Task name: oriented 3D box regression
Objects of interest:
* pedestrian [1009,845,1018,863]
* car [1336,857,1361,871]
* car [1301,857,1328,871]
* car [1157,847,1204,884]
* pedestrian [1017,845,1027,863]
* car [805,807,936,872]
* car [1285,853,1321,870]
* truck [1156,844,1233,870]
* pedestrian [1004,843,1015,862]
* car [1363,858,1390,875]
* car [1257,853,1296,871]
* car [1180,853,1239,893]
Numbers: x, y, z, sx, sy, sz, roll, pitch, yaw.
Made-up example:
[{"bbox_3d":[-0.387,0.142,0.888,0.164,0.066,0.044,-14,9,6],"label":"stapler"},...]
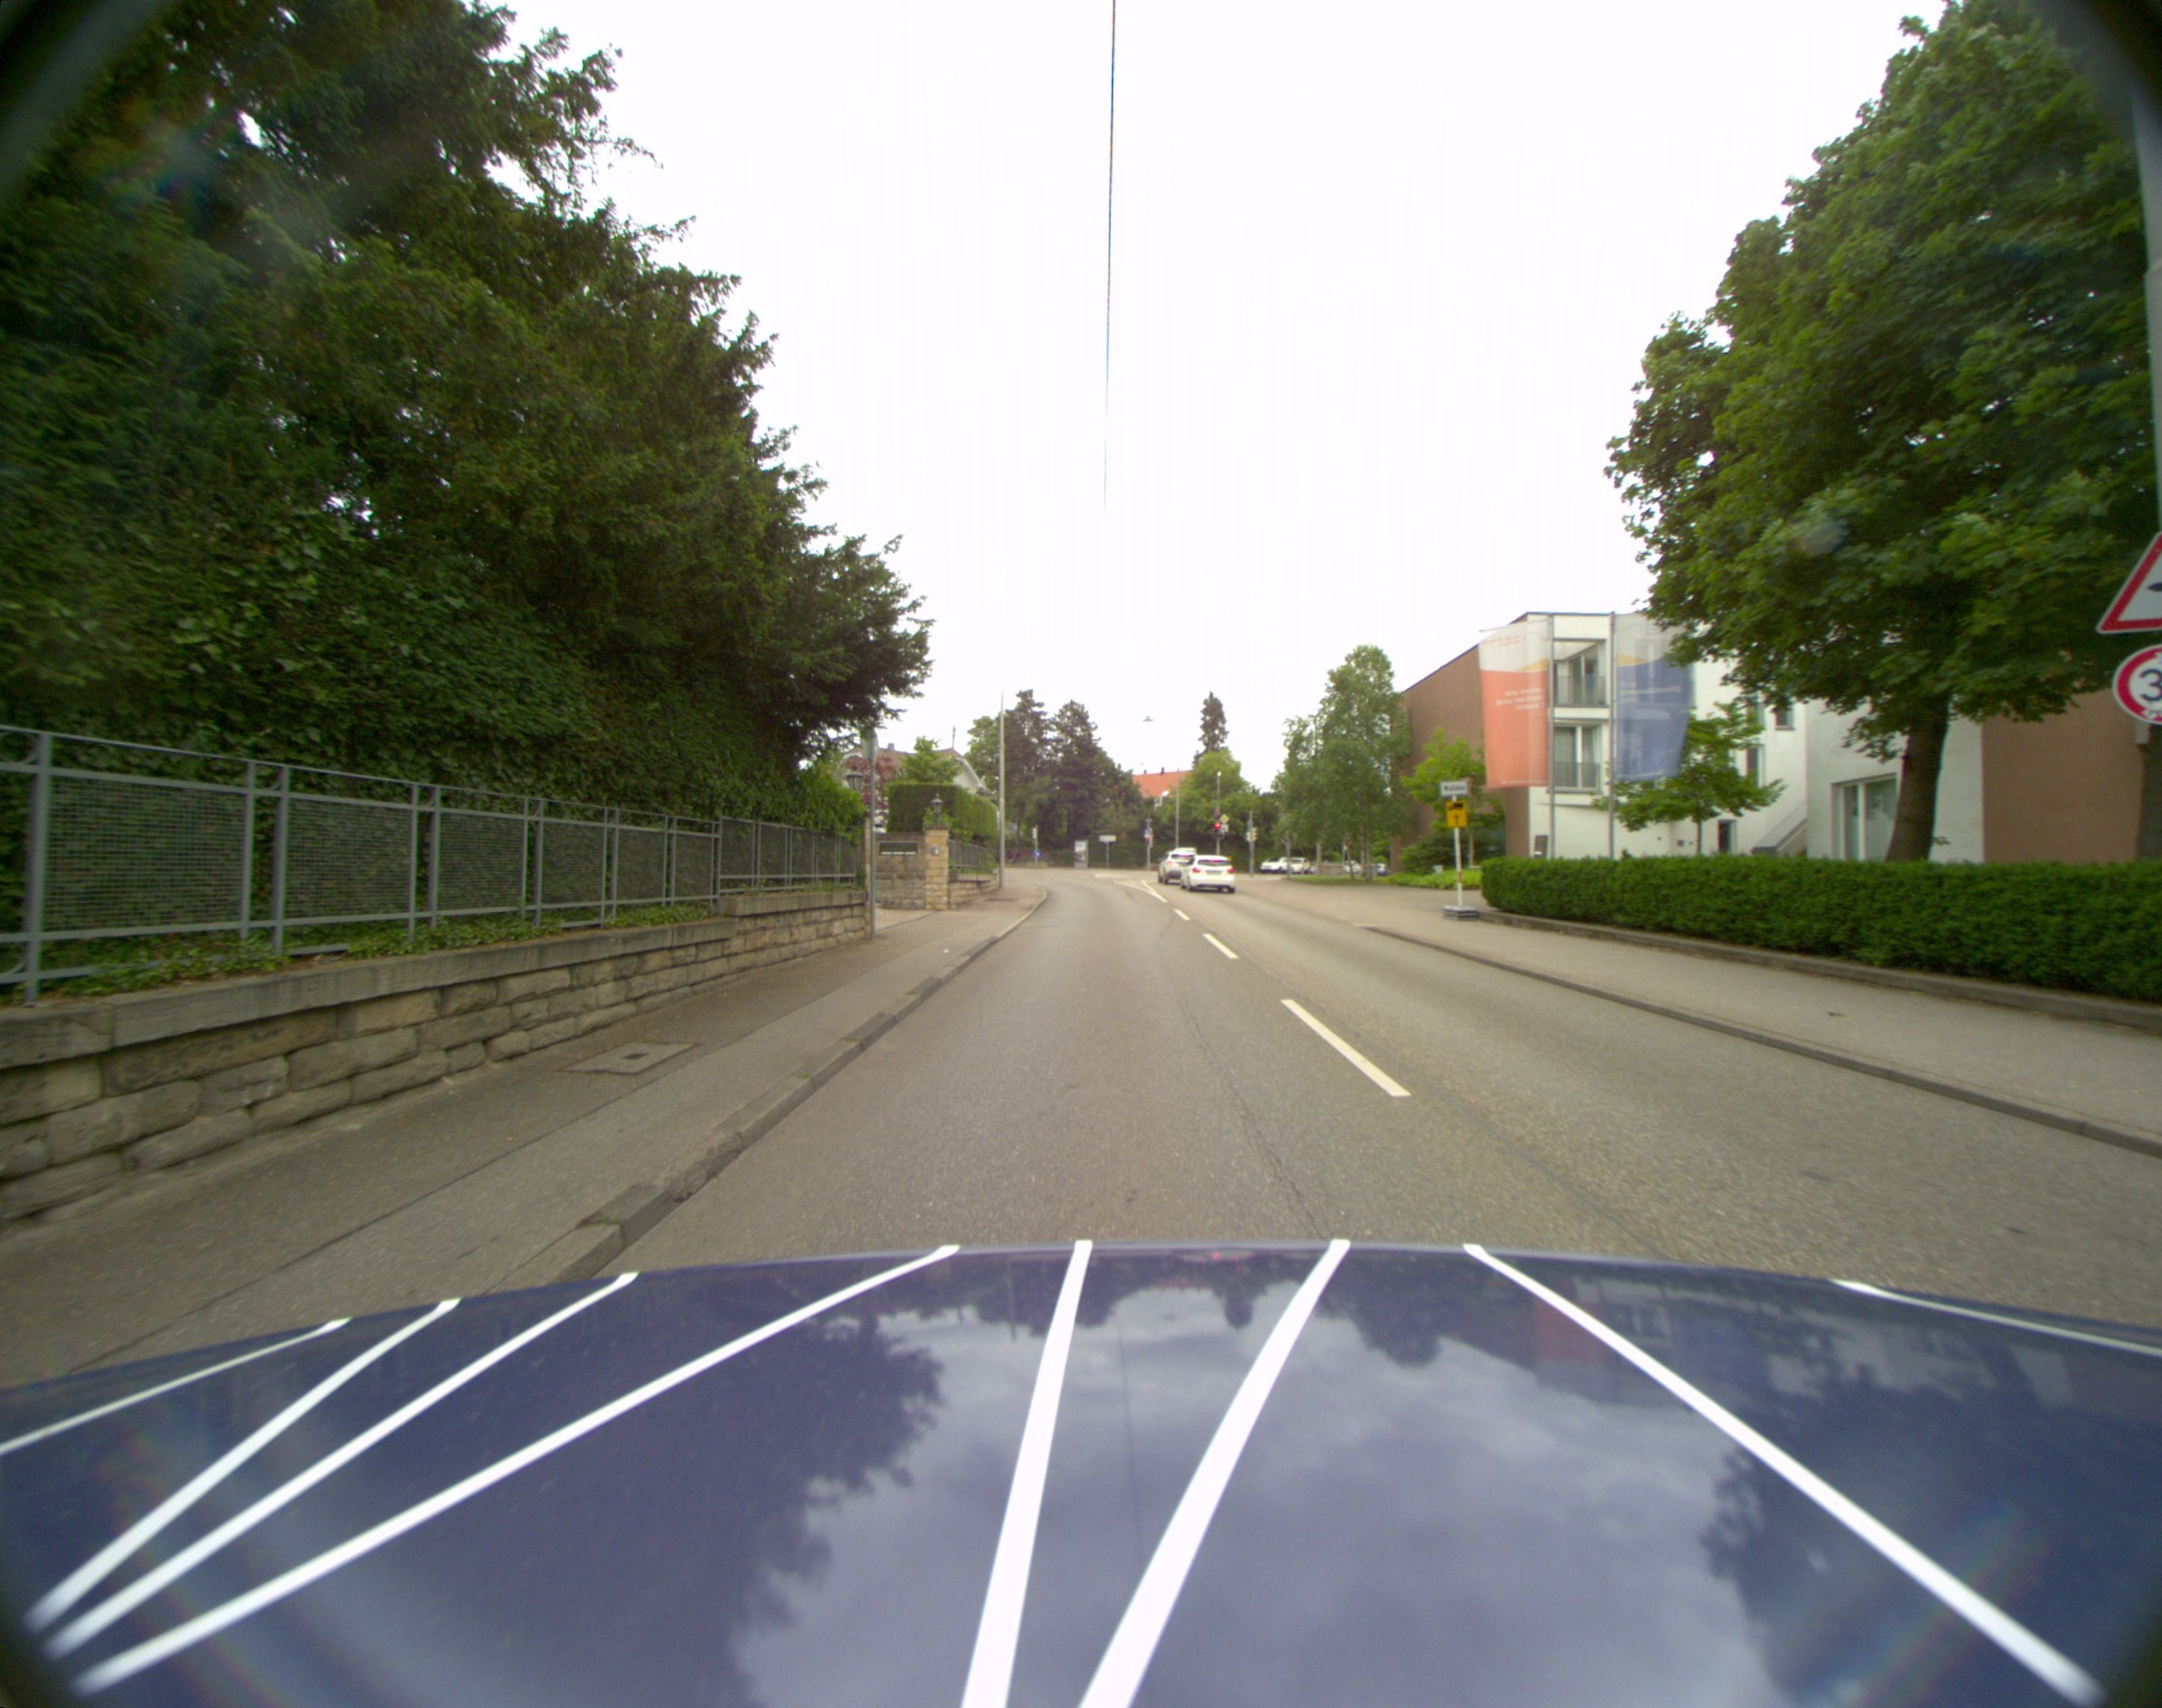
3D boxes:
[{"bbox_3d":[-6.770,0.014,75.972,0.611,1.824,0.605,2,1,28],"label":"pedestrian"},{"bbox_3d":[32.873,1.194,93.314,1.867,1.577,3.739,1,0,36],"label":"car"},{"bbox_3d":[24.798,1.076,80.663,1.867,1.445,3.738,0,0,30],"label":"car"},{"bbox_3d":[4.816,0.502,37.326,1.773,1.628,4.302,3,1,2],"label":"car"},{"bbox_3d":[-5.759,0.021,74.357,0.665,1.777,0.614,2,1,27],"label":"pedestrian"},{"bbox_3d":[-7.115,-0.489,25.949,3.749,1.603,1.814,9,1,0],"label":"car"},{"bbox_3d":[22.045,0.753,75.377,1.994,1.603,4.009,2,0,40],"label":"car"},{"bbox_3d":[10.344,0.238,68.918,6.706,2.176,2.532,1,1,12],"label":"truck"},{"bbox_3d":[-7.174,-0.143,75.909,0.686,1.803,0.882,2,1,30],"label":"pedestrian"},{"bbox_3d":[26.775,1.146,68.803,1.876,1.440,4.008,1,0,27],"label":"car"},{"bbox_3d":[18.308,0.711,71.168,1.994,1.603,4.009,2,0,40],"label":"car"},{"bbox_3d":[5.093,0.725,30.650,1.770,1.413,4.065,2,1,2],"label":"car"}]
